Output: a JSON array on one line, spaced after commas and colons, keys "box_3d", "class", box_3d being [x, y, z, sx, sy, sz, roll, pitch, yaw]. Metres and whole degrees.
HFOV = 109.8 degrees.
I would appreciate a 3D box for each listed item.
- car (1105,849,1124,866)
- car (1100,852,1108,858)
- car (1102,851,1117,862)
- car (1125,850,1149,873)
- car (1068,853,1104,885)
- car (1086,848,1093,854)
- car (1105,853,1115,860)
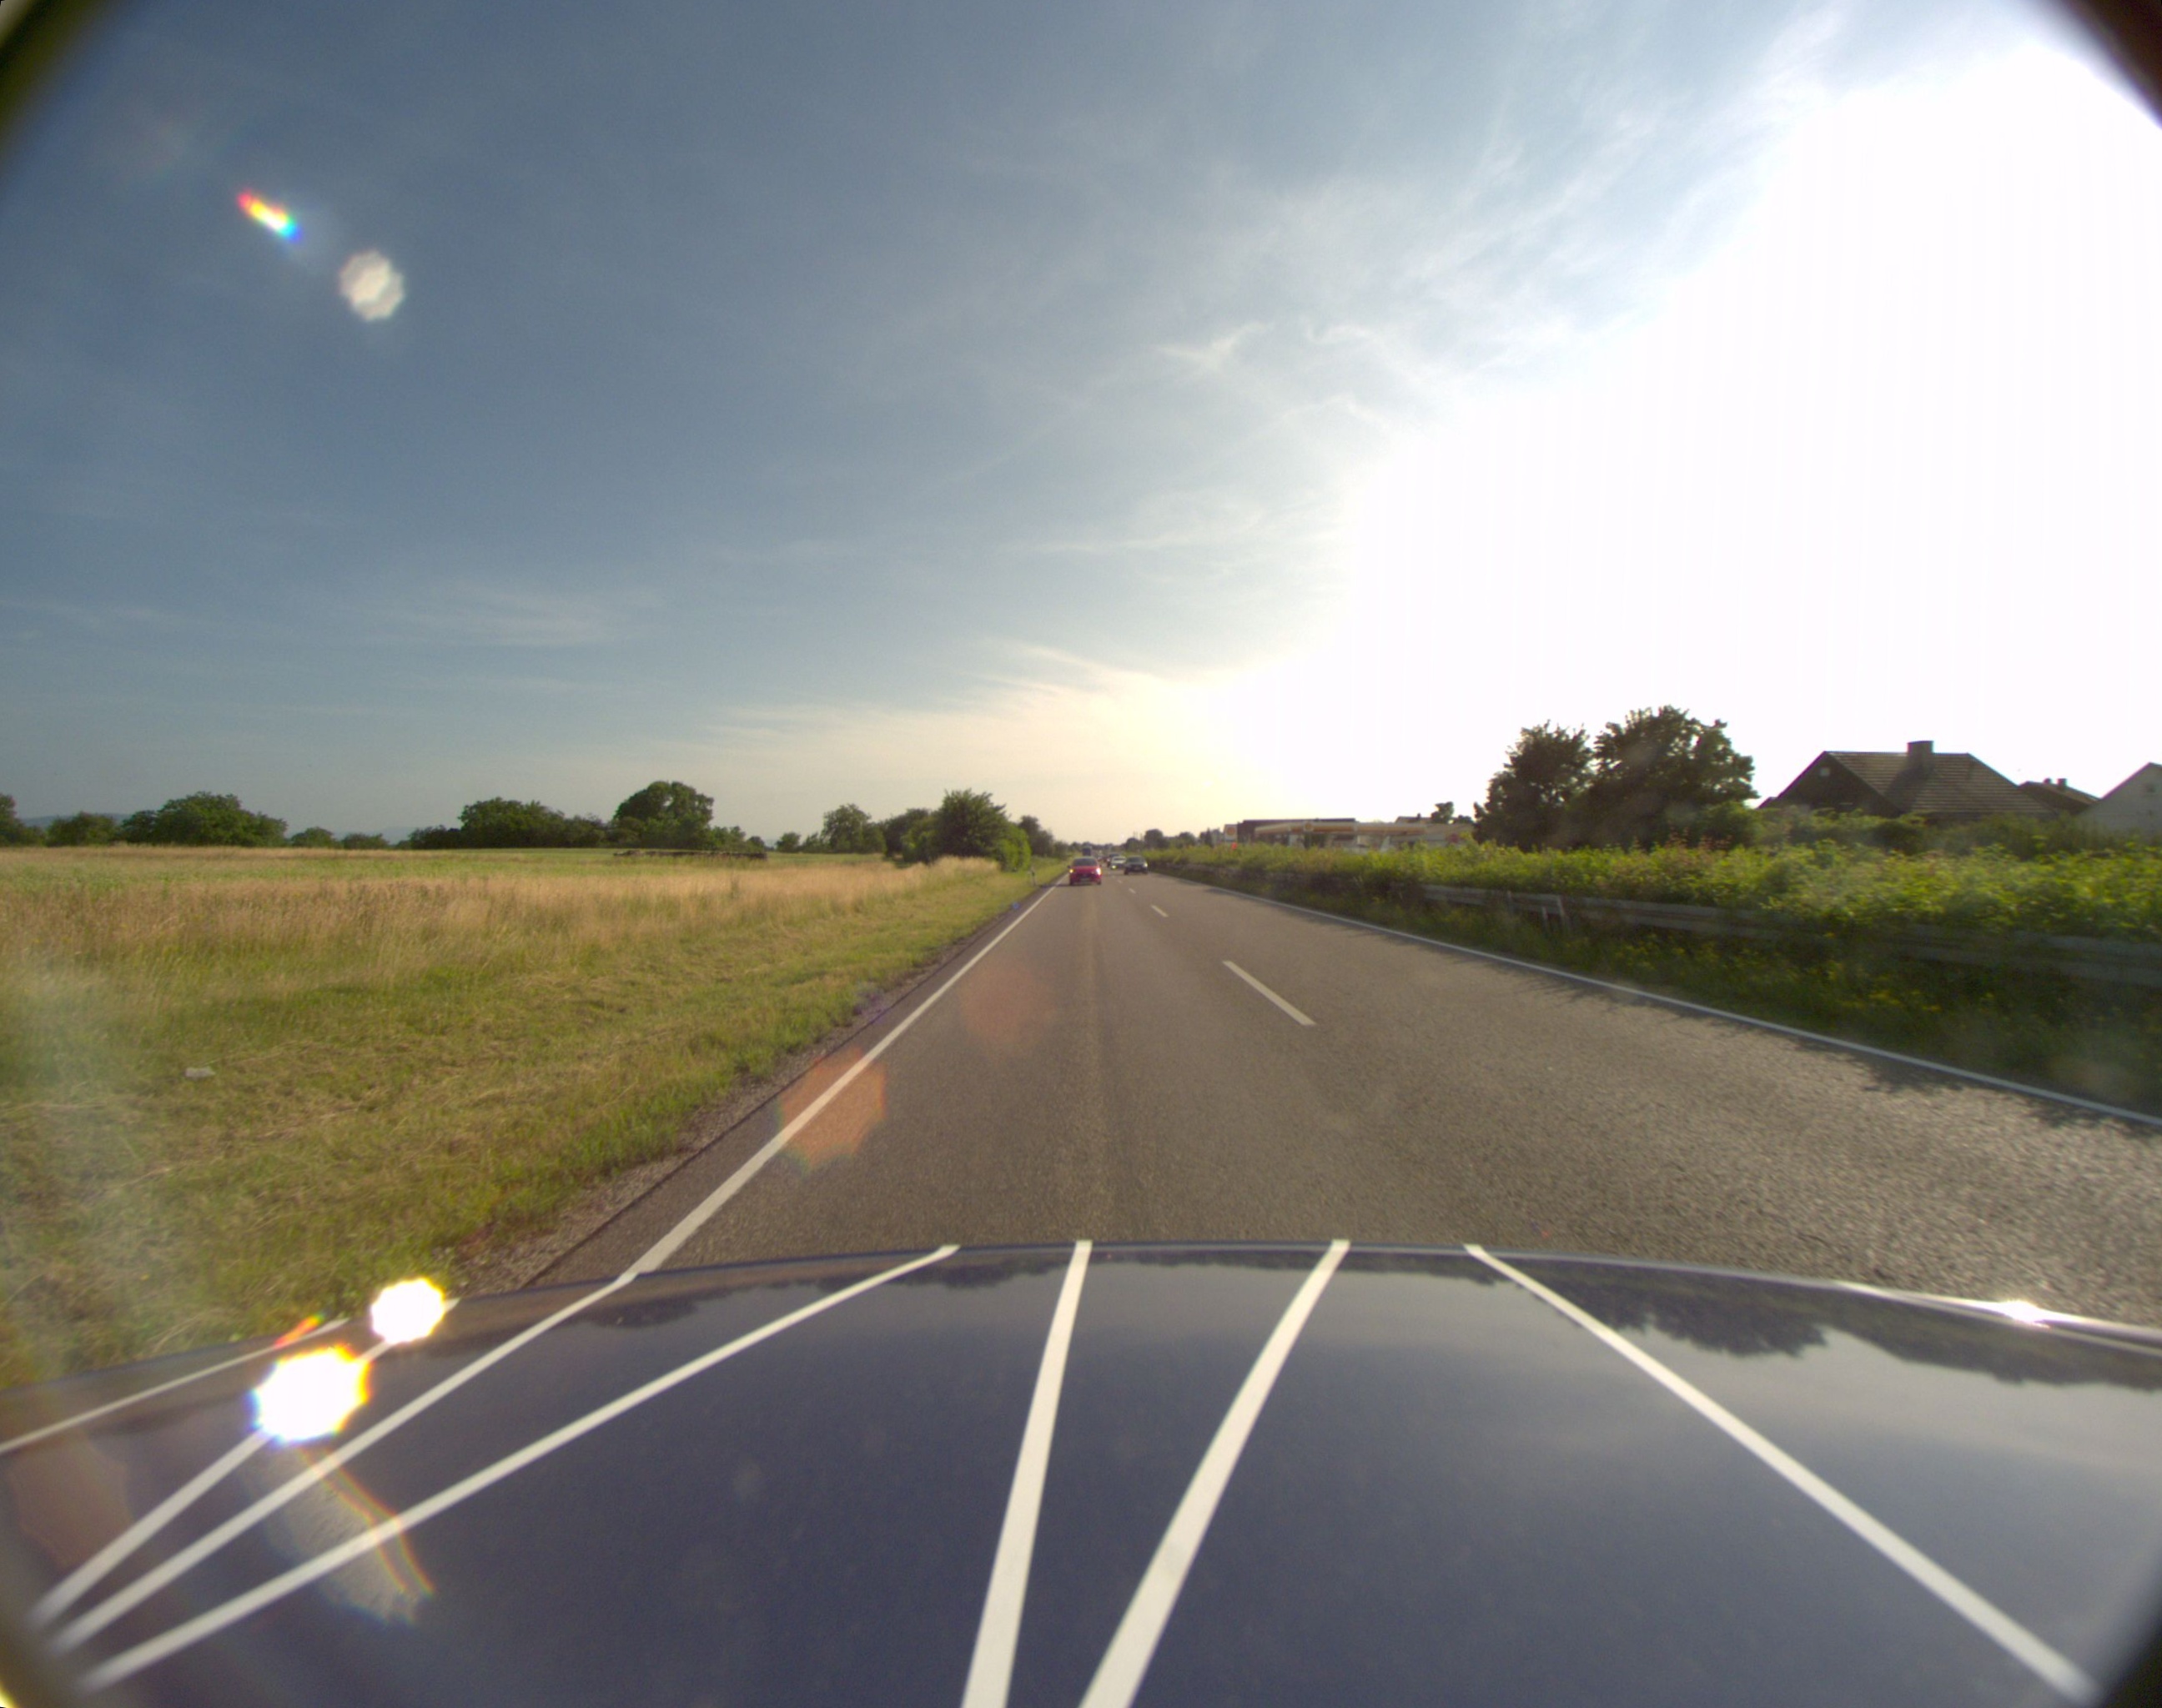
[{"box_3d": [3.683, 0.357, 84.091, 1.998, 1.762, 4.000, -2, 1, 2], "class": "car"}, {"box_3d": [5.702, 0.336, 186.920, 1.998, 1.412, 4.000, -2, 1, 2], "class": "car"}, {"box_3d": [3.874, 0.366, 102.894, 1.998, 1.412, 4.000, -2, 1, 2], "class": "car"}, {"box_3d": [4.381, 0.596, 60.049, 1.693, 1.695, 4.000, -2, 1, 1], "class": "car"}, {"box_3d": [0.310, 0.789, 41.559, 1.821, 1.565, 4.000, -2, 1, 2], "class": "car"}, {"box_3d": [2.439, -0.888, 216.366, 1.998, 1.412, 4.000, -2, 1, 2], "class": "car"}, {"box_3d": [6.043, 0.484, 157.481, 1.998, 1.412, 4.000, -2, 1, 2], "class": "car"}]
